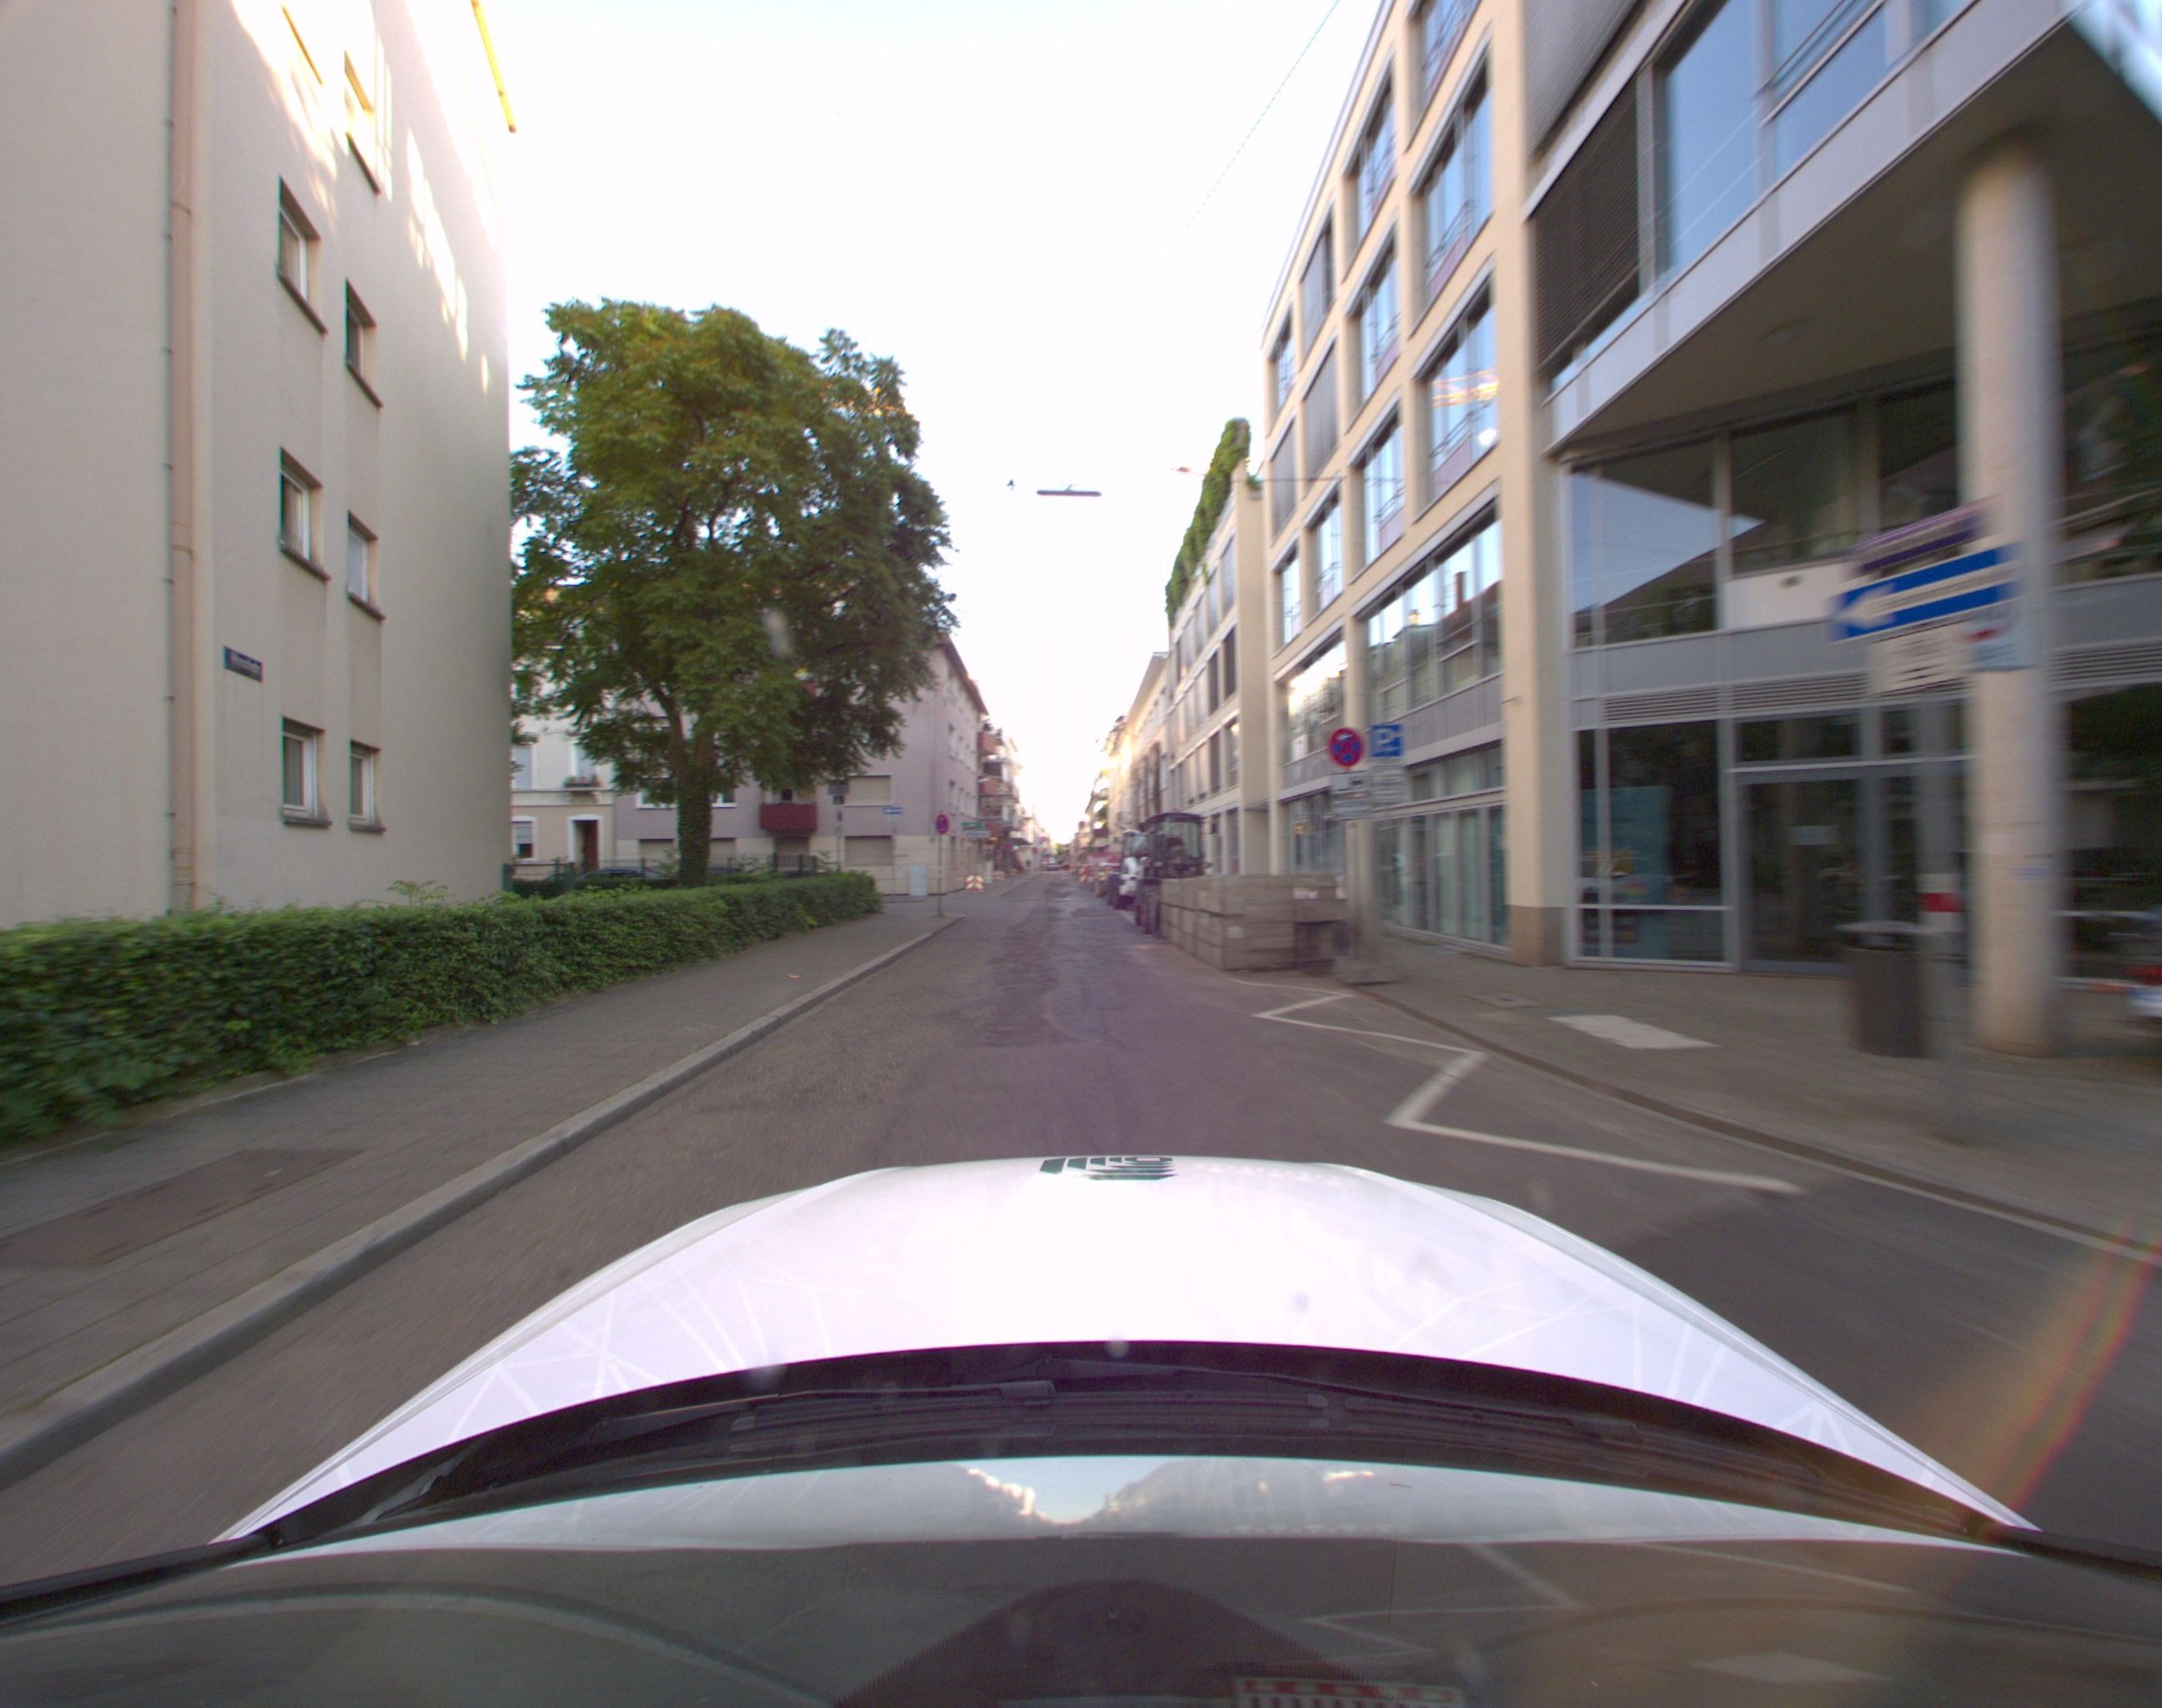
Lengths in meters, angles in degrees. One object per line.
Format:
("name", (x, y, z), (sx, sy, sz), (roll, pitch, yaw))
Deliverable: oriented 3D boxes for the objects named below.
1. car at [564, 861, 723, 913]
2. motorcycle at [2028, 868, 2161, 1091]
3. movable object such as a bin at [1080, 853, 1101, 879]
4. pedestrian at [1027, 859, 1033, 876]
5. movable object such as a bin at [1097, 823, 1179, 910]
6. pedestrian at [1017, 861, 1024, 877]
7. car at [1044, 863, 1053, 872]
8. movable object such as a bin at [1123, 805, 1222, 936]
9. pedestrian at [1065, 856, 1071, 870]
("car", (-14.776, 1.096, 27.676), (4.356, 1.640, 1.828), (-1, 0, -1))
("motorcycle", (7.393, 0.770, 5.592), (2.130, 1.274, 0.611), (-2, 0, -26))
("movable object such as a bin", (1.150, 1.469, 101.061), (2.464, 3.131, 4.294), (0, 0, -2))
("pedestrian", (-5.752, 1.498, 91.901), (0.652, 1.886, 0.574), (-1, 0, -1))
("movable object such as a bin", (1.770, 0.399, 27.256), (2.160, 2.596, 5.538), (-1, -1, -2))
("pedestrian", (-6.176, 1.510, 82.951), (0.647, 1.565, 0.627), (-1, 0, -17))
("car", (-5.277, 2.156, 132.137), (1.470, 1.398, 3.329), (-1, -1, -2))
("movable object such as a bin", (1.970, 0.355, 18.651), (1.790, 2.634, 4.110), (-1, -1, 0))
("pedestrian", (-1.609, 1.165, 104.066), (0.718, 1.740, 0.646), (-1, -1, -4))
